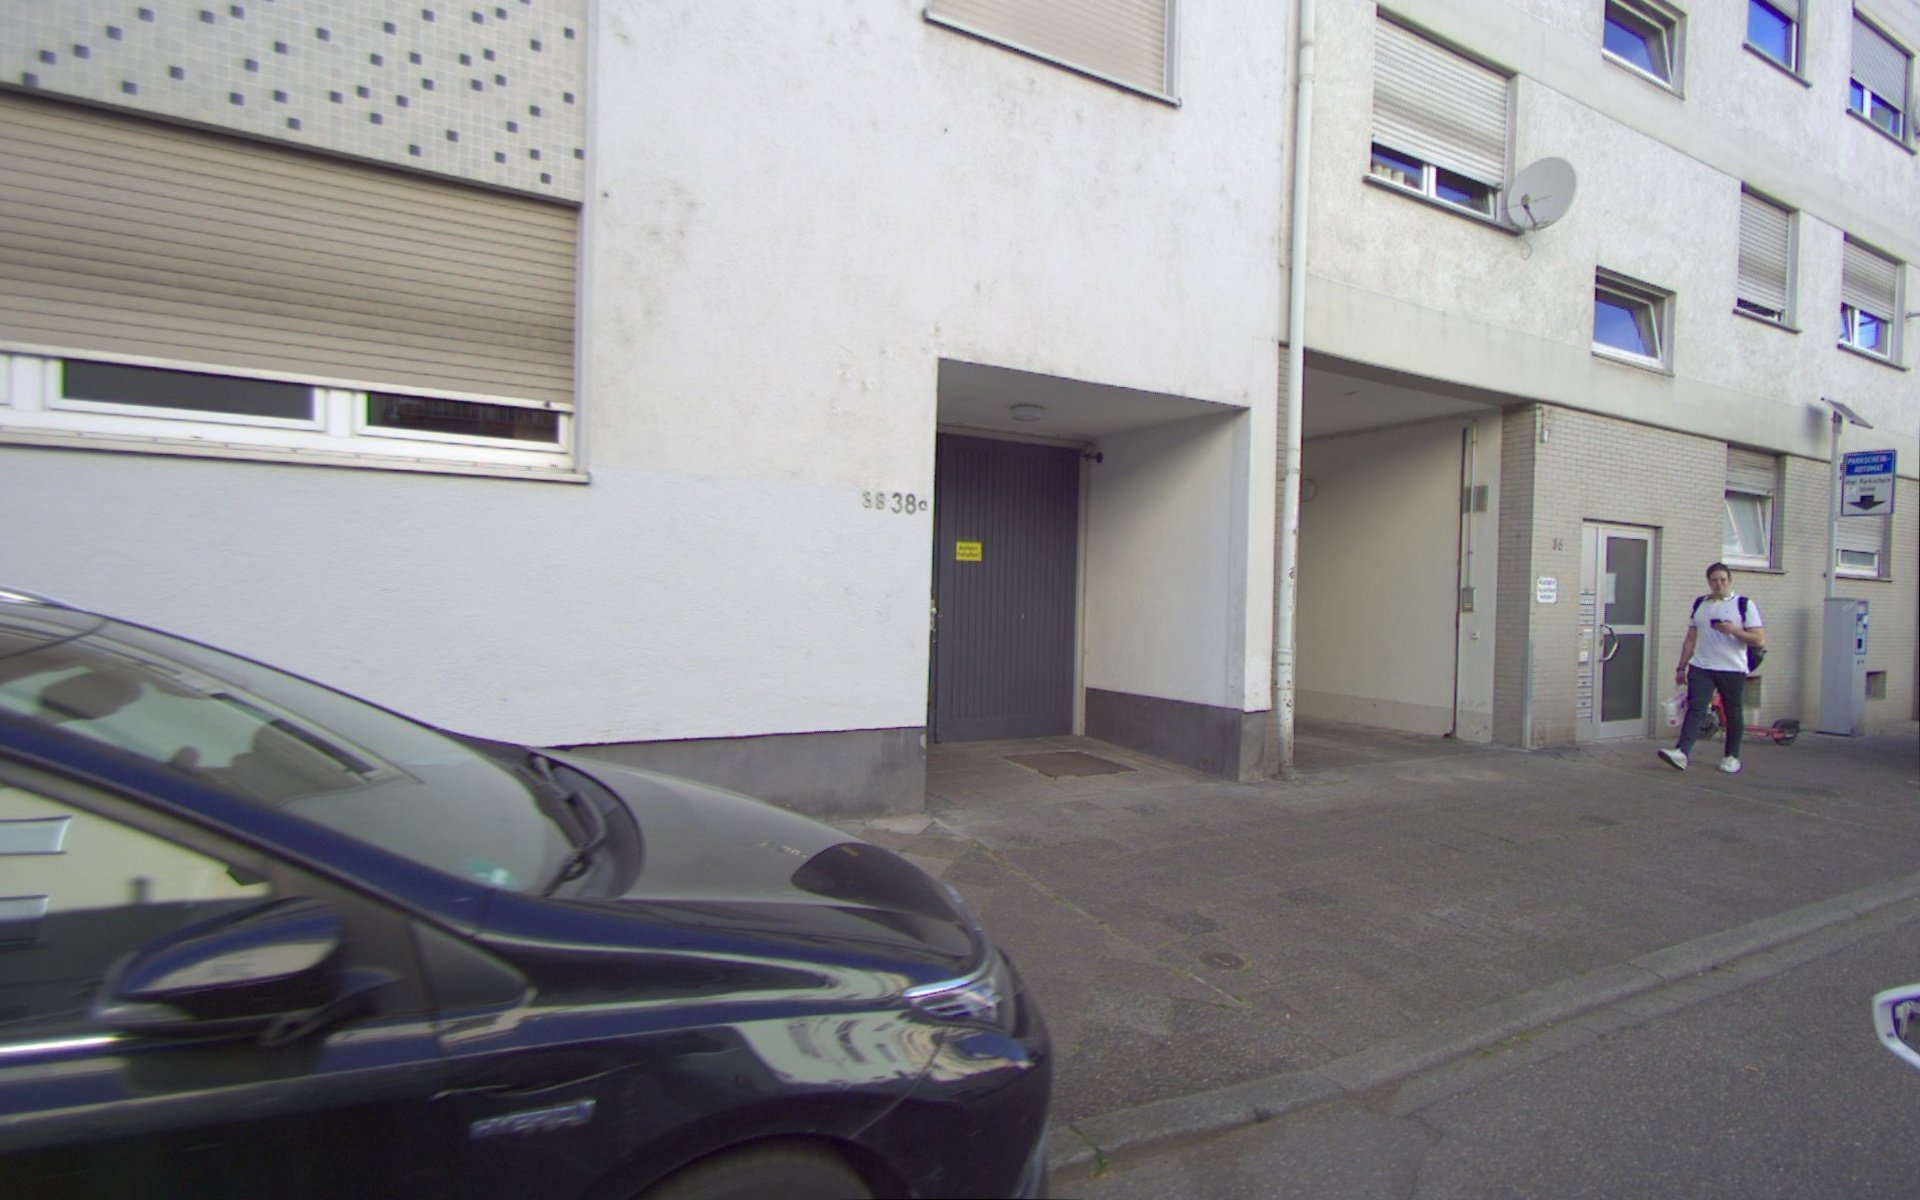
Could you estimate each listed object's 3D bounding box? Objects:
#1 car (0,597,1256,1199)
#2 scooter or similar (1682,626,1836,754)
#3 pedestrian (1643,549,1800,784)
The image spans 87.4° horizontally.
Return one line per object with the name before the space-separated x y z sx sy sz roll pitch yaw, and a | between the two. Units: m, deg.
car | -1.681 0.746 1.589 4.253 1.469 1.698 1 1 -31
scooter or similar | 8.467 0.933 10.677 1.208 1.295 0.438 0 -1 12
pedestrian | 6.718 0.548 8.883 0.682 1.960 0.802 1 3 -30
